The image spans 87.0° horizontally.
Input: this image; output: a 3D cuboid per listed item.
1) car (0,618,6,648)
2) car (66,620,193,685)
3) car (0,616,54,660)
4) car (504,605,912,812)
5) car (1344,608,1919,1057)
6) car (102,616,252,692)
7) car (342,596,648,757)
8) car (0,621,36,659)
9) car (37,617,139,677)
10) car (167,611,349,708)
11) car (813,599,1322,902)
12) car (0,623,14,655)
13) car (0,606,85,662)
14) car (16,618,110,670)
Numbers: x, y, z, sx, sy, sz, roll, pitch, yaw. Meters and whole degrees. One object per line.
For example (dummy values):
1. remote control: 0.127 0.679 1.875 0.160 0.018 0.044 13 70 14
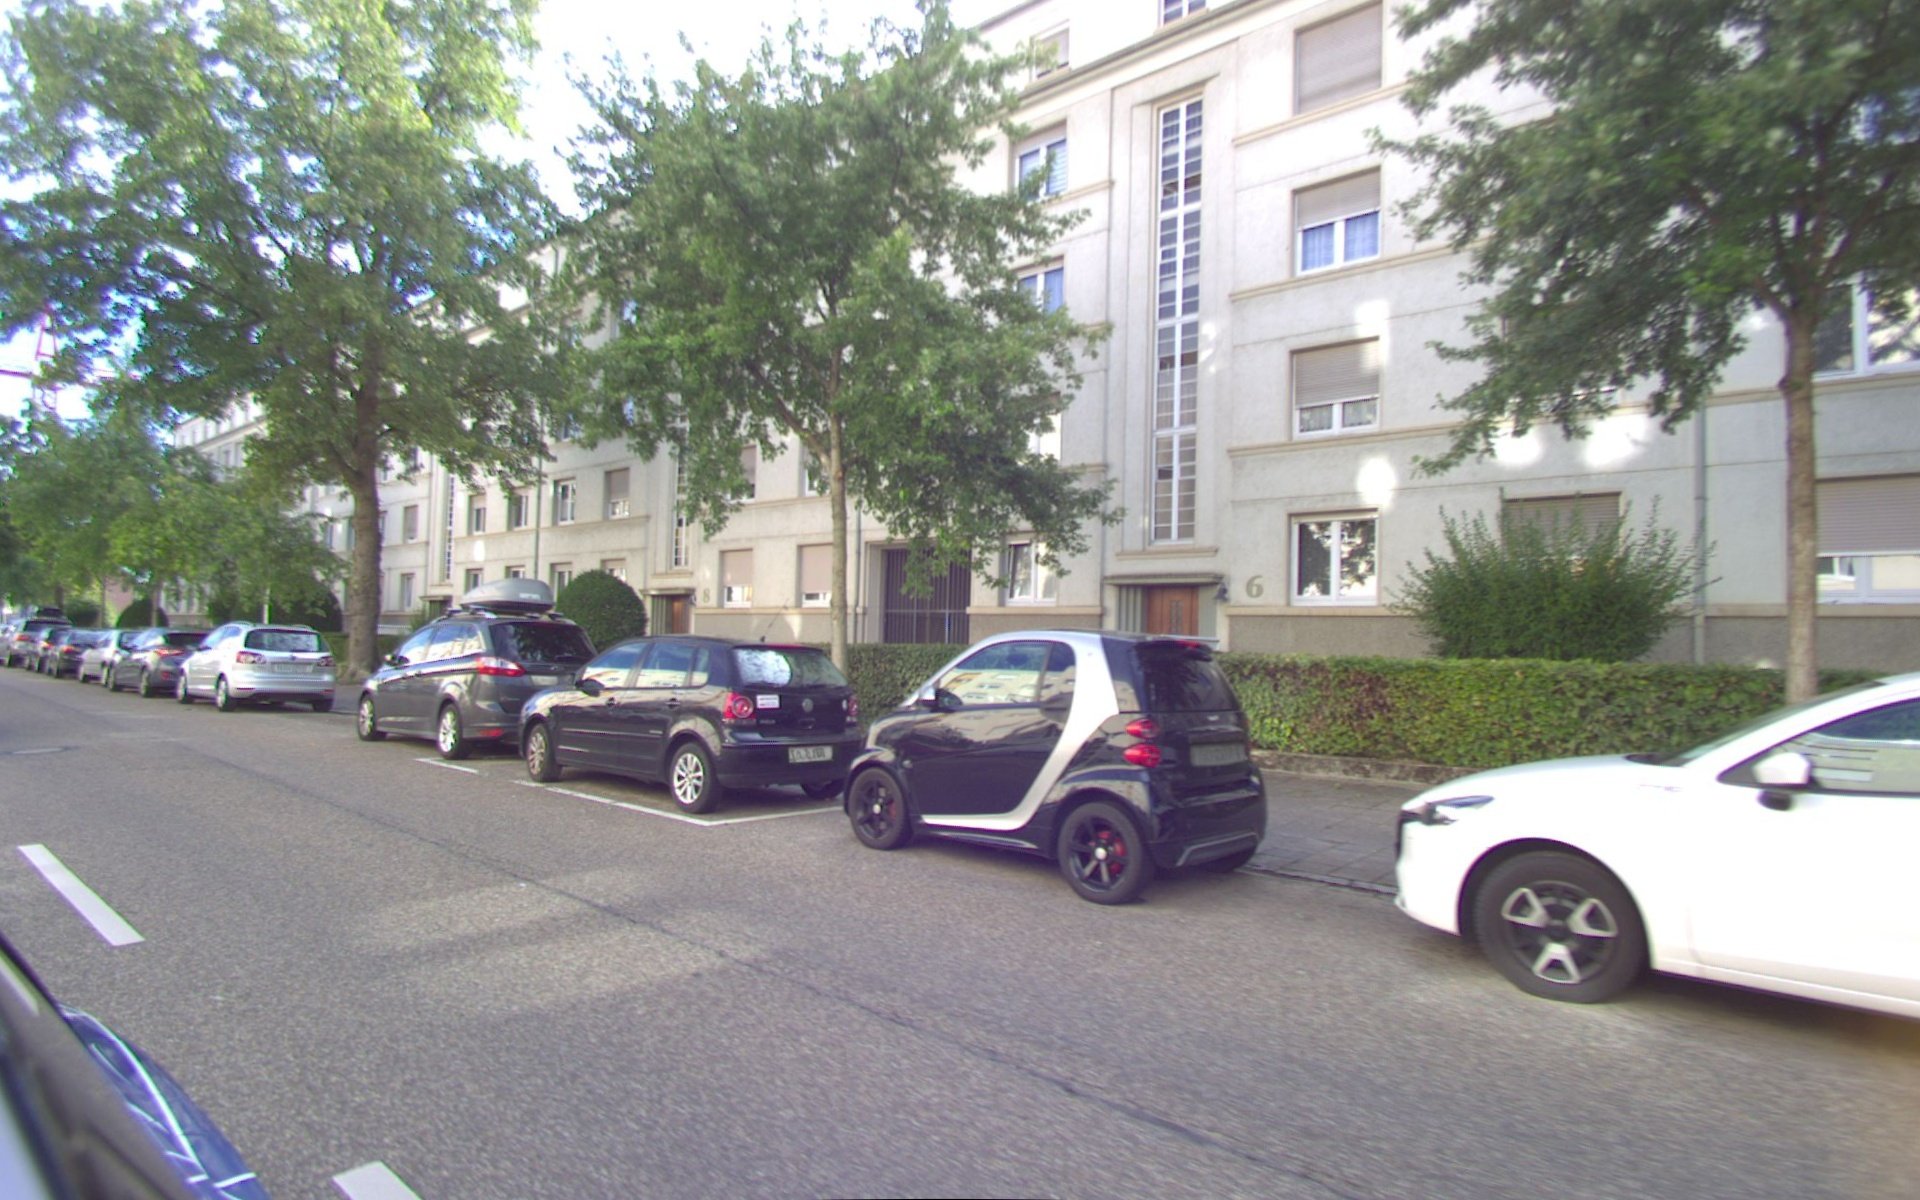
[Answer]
1. car: -50.201 1.614 51.464 4.679 1.497 1.837 -1 -5 40
2. car: -20.690 1.293 25.166 3.960 1.429 1.584 -1 -7 39
3. car: -37.258 1.476 39.807 4.458 1.585 1.835 -1 -5 42
4. car: -2.423 0.893 9.254 3.846 1.498 1.682 -1 -6 42
5. car: 3.956 0.837 3.896 4.333 1.504 1.675 -2 -6 44
6. car: -17.159 1.161 22.114 4.009 1.479 1.598 -1 -6 39
7. car: -5.987 0.918 12.776 4.481 1.681 1.780 -1 -6 42
8. car: -41.075 1.650 43.127 4.941 1.497 1.836 -1 -7 41
9. car: -25.003 1.328 28.978 4.452 1.492 1.666 -1 -7 44
10. car: -13.276 1.084 19.062 3.991 1.632 1.721 -1 -4 40
11. car: 0.618 0.857 6.743 3.015 1.532 1.536 -1 -6 42
12. car: -45.284 1.739 46.719 4.662 1.404 1.720 -1 -6 40
13. car: -32.838 1.206 35.855 4.966 1.806 1.858 -1 -6 40
14. car: -28.800 1.390 32.442 4.118 1.492 1.667 -1 -7 42
